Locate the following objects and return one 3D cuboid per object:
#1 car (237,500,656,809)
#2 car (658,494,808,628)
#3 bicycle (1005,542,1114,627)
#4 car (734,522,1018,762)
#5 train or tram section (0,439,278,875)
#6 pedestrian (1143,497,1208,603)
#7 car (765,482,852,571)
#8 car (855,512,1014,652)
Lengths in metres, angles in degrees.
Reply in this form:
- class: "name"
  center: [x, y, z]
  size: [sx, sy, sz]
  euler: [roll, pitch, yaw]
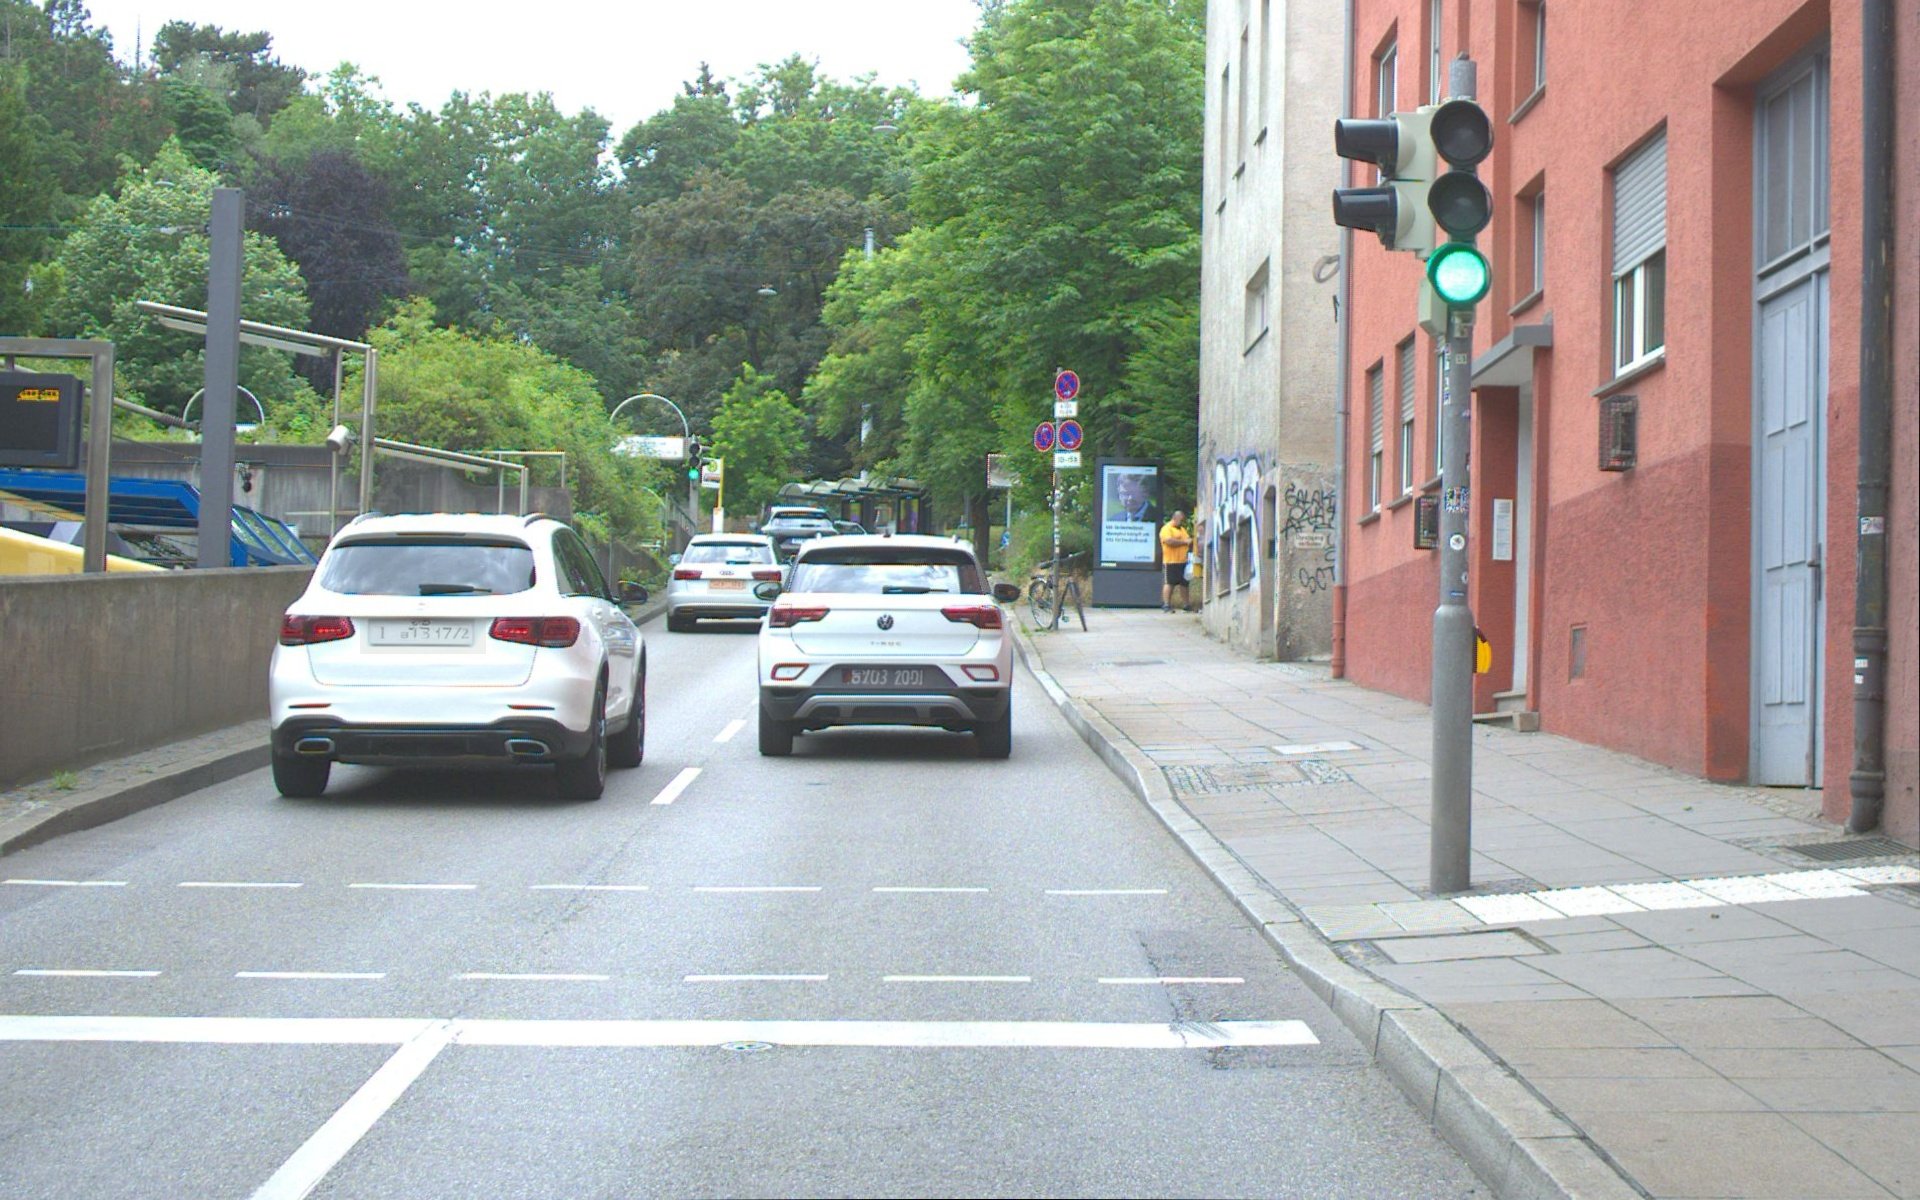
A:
- class: "car"
  center: [-2.987, 0.258, 20.902]
  size: [1.877, 1.646, 4.341]
  euler: [-1, 1, 0]
- class: "car"
  center: [-3.404, -0.610, 52.248]
  size: [1.993, 1.875, 4.000]
  euler: [3, 1, -1]
- class: "bicycle"
  center: [1.392, -0.209, 48.626]
  size: [0.638, 1.139, 2.065]
  euler: [-2, 0, -25]
- class: "car"
  center: [-0.540, 0.244, 25.014]
  size: [1.865, 1.550, 3.895]
  euler: [2, 1, 1]
- class: "train or tram section"
  center: [-9.295, 0.487, 33.397]
  size: [2.949, 3.497, 12.986]
  euler: [1, 0, -1]
- class: "pedestrian"
  center: [3.507, -0.820, 56.008]
  size: [0.832, 1.706, 0.822]
  euler: [0, 1, -14]
- class: "car"
  center: [-3.377, -1.661, 77.280]
  size: [1.749, 1.875, 4.000]
  euler: [3, 1, -1]
- class: "car"
  center: [-0.311, -0.251, 43.129]
  size: [1.861, 1.626, 3.959]
  euler: [1, 1, 0]
